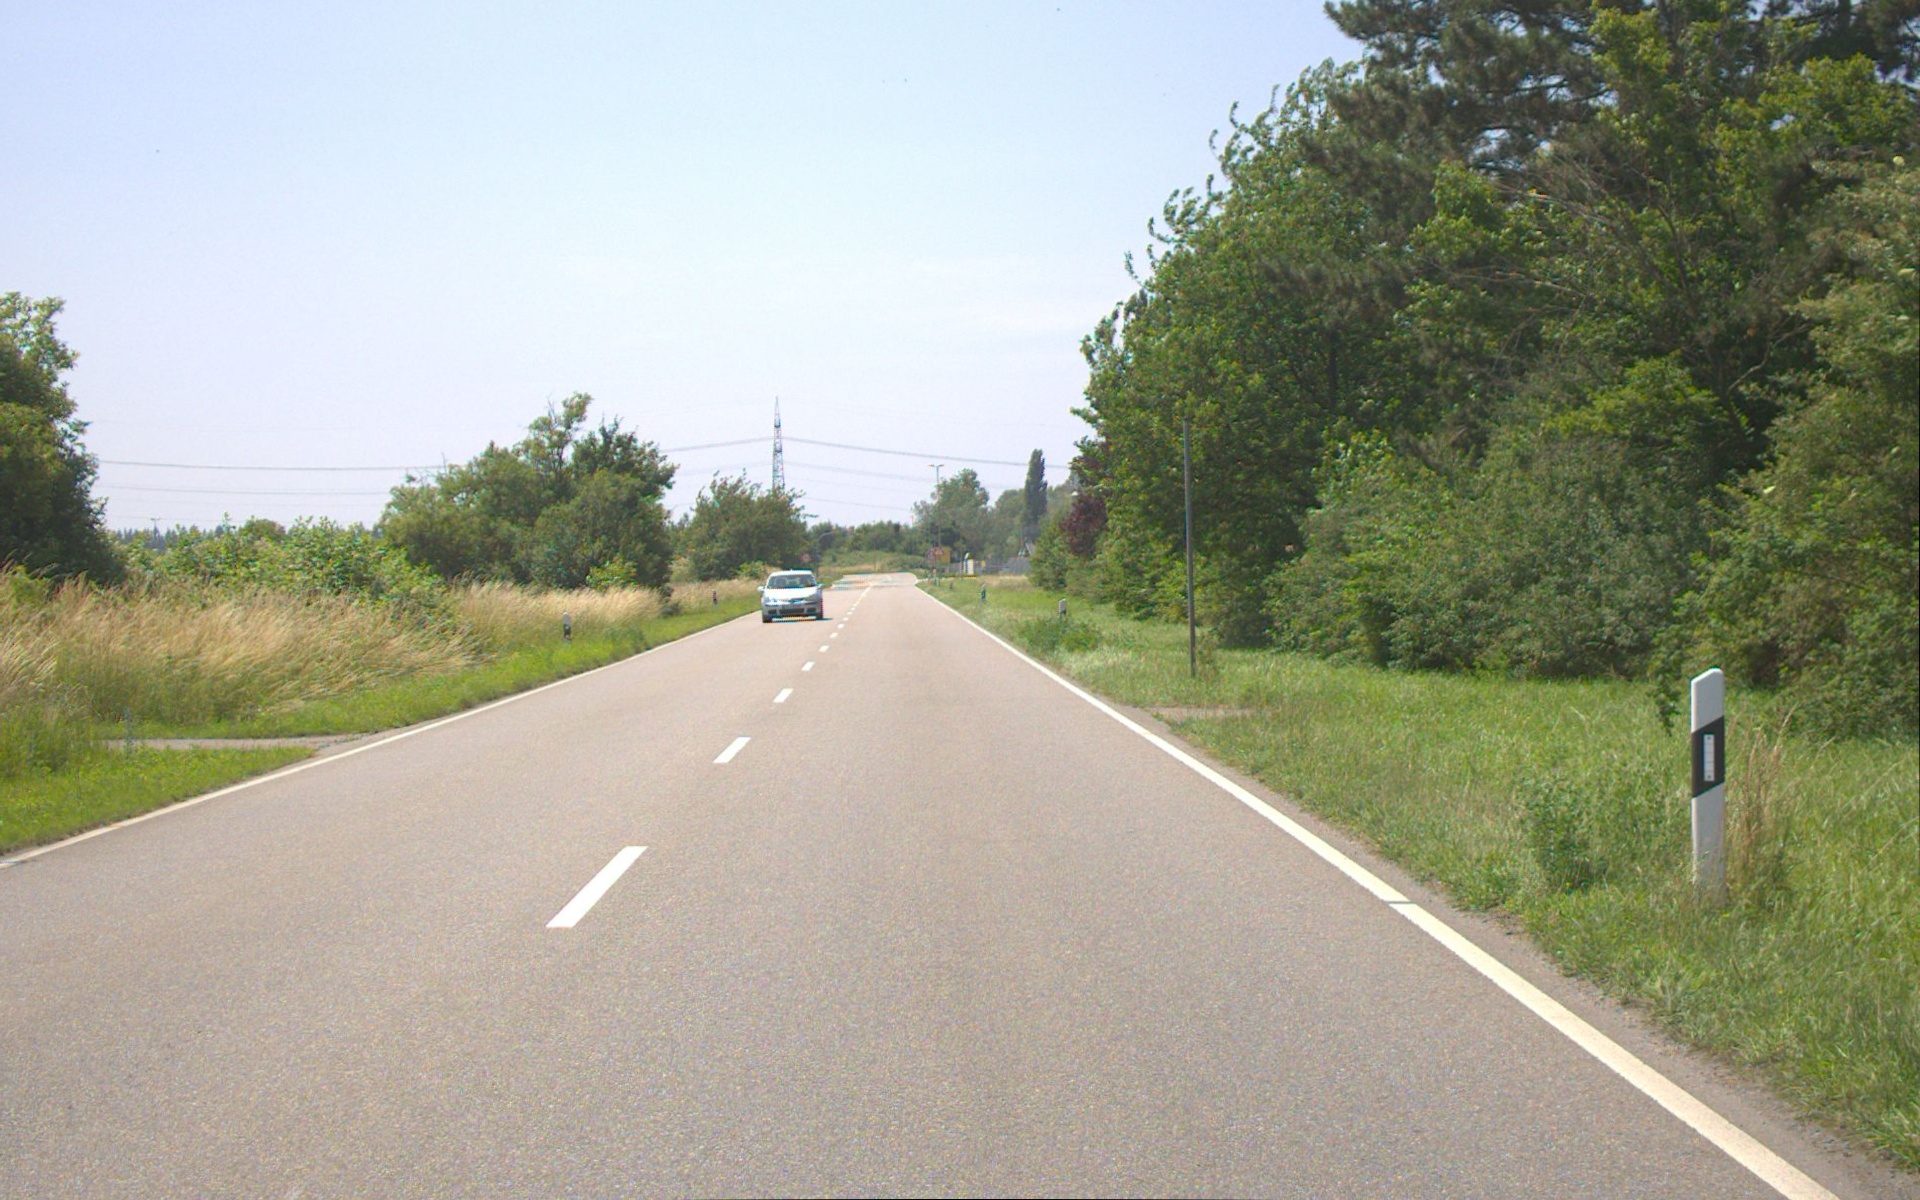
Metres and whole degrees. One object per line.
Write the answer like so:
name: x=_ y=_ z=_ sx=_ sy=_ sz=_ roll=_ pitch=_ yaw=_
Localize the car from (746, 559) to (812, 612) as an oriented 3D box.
car: x=-5.272 y=-0.440 z=100.410 sx=1.678 sy=1.416 sz=4.422 roll=-3 pitch=1 yaw=-1
